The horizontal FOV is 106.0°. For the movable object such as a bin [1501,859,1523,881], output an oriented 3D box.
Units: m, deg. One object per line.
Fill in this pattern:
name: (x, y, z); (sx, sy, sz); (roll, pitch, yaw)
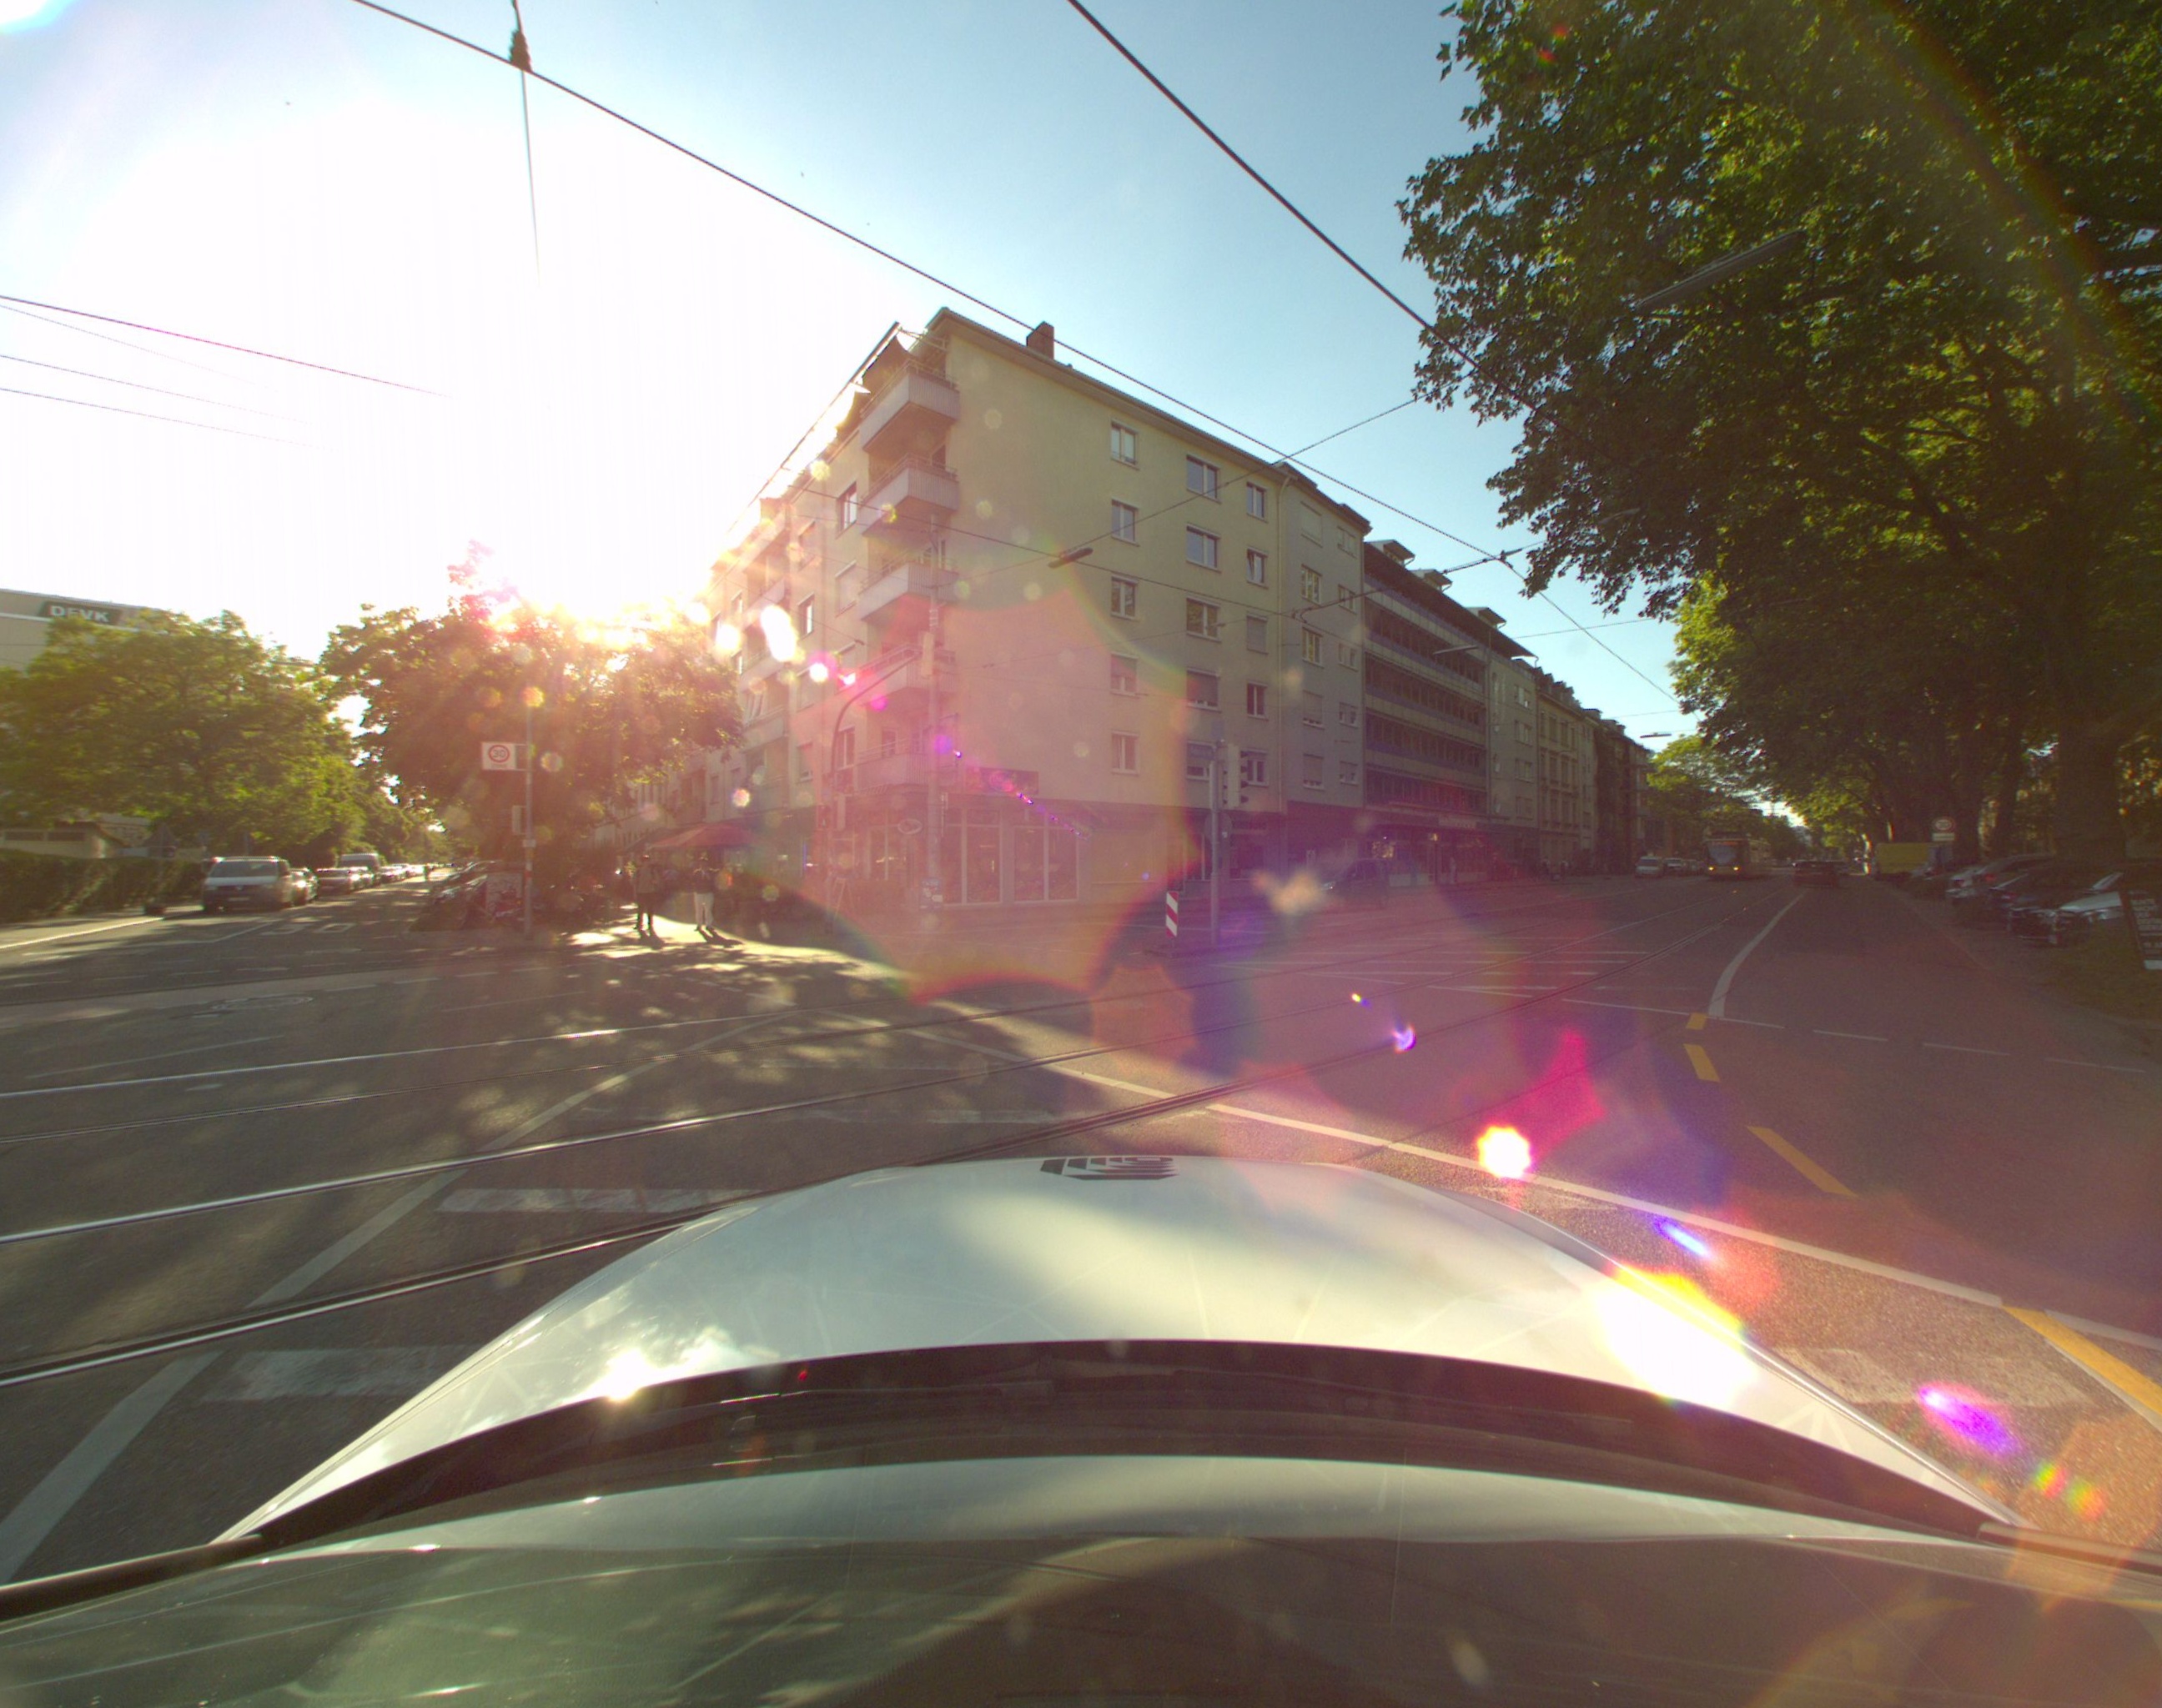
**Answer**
movable object such as a bin: (28.867, 1.057, 54.536); (1.003, 1.428, 1.264); (-1, -1, 45)

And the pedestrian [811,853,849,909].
pedestrian: (-8.251, 0.874, 26.751); (0.919, 1.771, 0.804); (1, -1, -45)

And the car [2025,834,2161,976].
car: (15.789, 0.618, 10.043); (5.171, 1.827, 1.942); (-3, -4, 43)

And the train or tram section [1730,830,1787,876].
train or tram section: (58.373, -0.023, 70.024); (2.806, 3.638, 12.892); (-1, -1, 44)

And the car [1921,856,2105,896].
car: (37.614, 0.862, 33.086); (4.667, 1.534, 1.931); (-1, -1, 42)

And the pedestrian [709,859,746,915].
pedestrian: (-11.584, 1.060, 26.712); (0.918, 1.771, 0.804); (0, -1, -40)

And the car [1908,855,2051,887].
car: (45.147, 0.857, 41.098); (4.667, 1.534, 1.931); (-1, -1, 42)

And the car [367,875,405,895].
car: (-62.030, 2.825, 72.756); (2.007, 1.618, 3.957); (4, -5, -33)

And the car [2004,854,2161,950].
car: (19.364, 0.798, 13.870); (4.668, 1.602, 1.931); (-1, -1, 45)

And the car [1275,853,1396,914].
car: (8.374, 0.898, 26.621); (4.387, 1.806, 1.892); (0, -1, -44)

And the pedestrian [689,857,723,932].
pedestrian: (-9.016, 0.948, 19.615); (0.694, 1.750, 0.834); (0, -1, -23)

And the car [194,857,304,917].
car: (-30.826, 1.154, 30.349); (2.375, 2.014, 5.246); (1, -1, -41)

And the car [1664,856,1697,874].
car: (53.910, 0.969, 73.201); (1.876, 1.564, 4.419); (-1, -1, 43)

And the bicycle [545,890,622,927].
bicycle: (-13.661, 1.472, 22.380); (1.737, 0.932, 0.555); (0, -1, -38)

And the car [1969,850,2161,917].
car: (27.668, 0.768, 22.113); (4.668, 1.722, 1.931); (-1, -1, 44)

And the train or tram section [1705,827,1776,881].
train or tram section: (49.292, 0.042, 60.673); (2.834, 3.638, 13.275); (-1, -1, 44)

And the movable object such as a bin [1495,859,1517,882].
movable object such as a bin: (27.906, 1.078, 53.454); (1.003, 1.428, 1.152); (-1, -1, 39)

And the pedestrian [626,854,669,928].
pedestrian: (-10.490, 0.877, 19.706); (0.697, 1.750, 0.785); (1, -2, -44)

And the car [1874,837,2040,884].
car: (46.442, 0.366, 43.435); (2.073, 2.366, 5.891); (0, -1, -45)

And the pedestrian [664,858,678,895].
pedestrian: (-22.295, 1.226, 44.293); (0.505, 2.014, 0.540); (-1, -2, 45)

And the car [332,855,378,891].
car: (-53.080, 1.403, 59.639); (2.375, 2.515, 5.246); (1, -1, -41)

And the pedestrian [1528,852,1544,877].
pedestrian: (34.149, 0.785, 61.113); (0.793, 1.864, 0.884); (1, -1, -44)

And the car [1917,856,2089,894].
car: (39.433, 0.864, 35.049); (4.667, 1.534, 1.931); (-1, -1, 41)

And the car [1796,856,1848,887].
car: (39.950, 0.957, 43.866); (1.876, 1.564, 4.418); (-3, -4, 44)

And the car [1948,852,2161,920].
car: (25.569, 0.774, 20.729); (4.668, 1.602, 1.931); (-1, -1, 45)

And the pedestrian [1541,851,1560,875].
pedestrian: (31.735, 0.600, 55.072); (0.884, 1.624, 1.040); (-1, -1, 44)

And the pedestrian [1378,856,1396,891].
pedestrian: (14.699, 0.932, 39.149); (0.656, 1.648, 0.629); (-1, -1, 36)

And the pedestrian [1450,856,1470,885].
pedestrian: (22.319, 0.981, 47.929); (1.020, 1.662, 1.234); (-1, -1, 25)

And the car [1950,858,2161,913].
car: (29.776, 0.929, 24.607); (4.668, 1.534, 1.931); (-1, -1, 44)

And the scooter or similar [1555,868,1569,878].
scooter or similar: (32.039, 1.264, 54.201); (0.619, 0.648, 0.770); (-1, -1, 44)

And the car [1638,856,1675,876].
car: (46.414, 0.928, 65.640); (1.876, 1.564, 4.419); (-1, -1, 43)

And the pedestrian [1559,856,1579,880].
pedestrian: (32.734, 0.923, 54.613); (0.884, 1.624, 1.040); (-1, -1, 44)

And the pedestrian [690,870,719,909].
pedestrian: (-13.607, 1.281, 29.415); (0.817, 1.362, 0.904); (0, -1, -33)

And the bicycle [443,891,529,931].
bicycle: (-15.207, 1.435, 20.842); (1.737, 0.932, 0.664); (0, -1, -38)

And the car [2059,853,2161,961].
car: (17.781, 0.779, 11.835); (1.954, 1.602, 4.366); (0, -1, -45)

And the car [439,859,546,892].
car: (-35.997, 1.296, 49.853); (5.133, 1.924, 2.334); (0, -3, -41)

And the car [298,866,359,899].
car: (-43.492, 1.586, 47.204); (2.375, 1.795, 5.246); (1, -1, -41)

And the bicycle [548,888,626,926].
bicycle: (-13.192, 1.390, 21.784); (1.737, 0.932, 0.555); (0, -1, -38)

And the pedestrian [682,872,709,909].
pedestrian: (-14.424, 1.344, 30.443); (0.817, 1.362, 0.904); (0, -1, -33)

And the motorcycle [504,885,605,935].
motorcycle: (-12.964, 1.361, 20.079); (1.969, 1.109, 0.827); (0, -1, -43)

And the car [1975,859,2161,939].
car: (21.105, 0.857, 16.020); (4.542, 1.506, 1.931); (-1, -1, 42)

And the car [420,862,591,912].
car: (-24.080, 1.348, 34.198); (5.668, 1.924, 2.334); (0, -3, -41)

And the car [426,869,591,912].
car: (-22.519, 1.406, 32.164); (5.133, 1.557, 2.334); (0, -3, -41)

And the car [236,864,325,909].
car: (-34.513, 1.341, 35.256); (2.375, 1.795, 5.246); (1, -1, -41)
